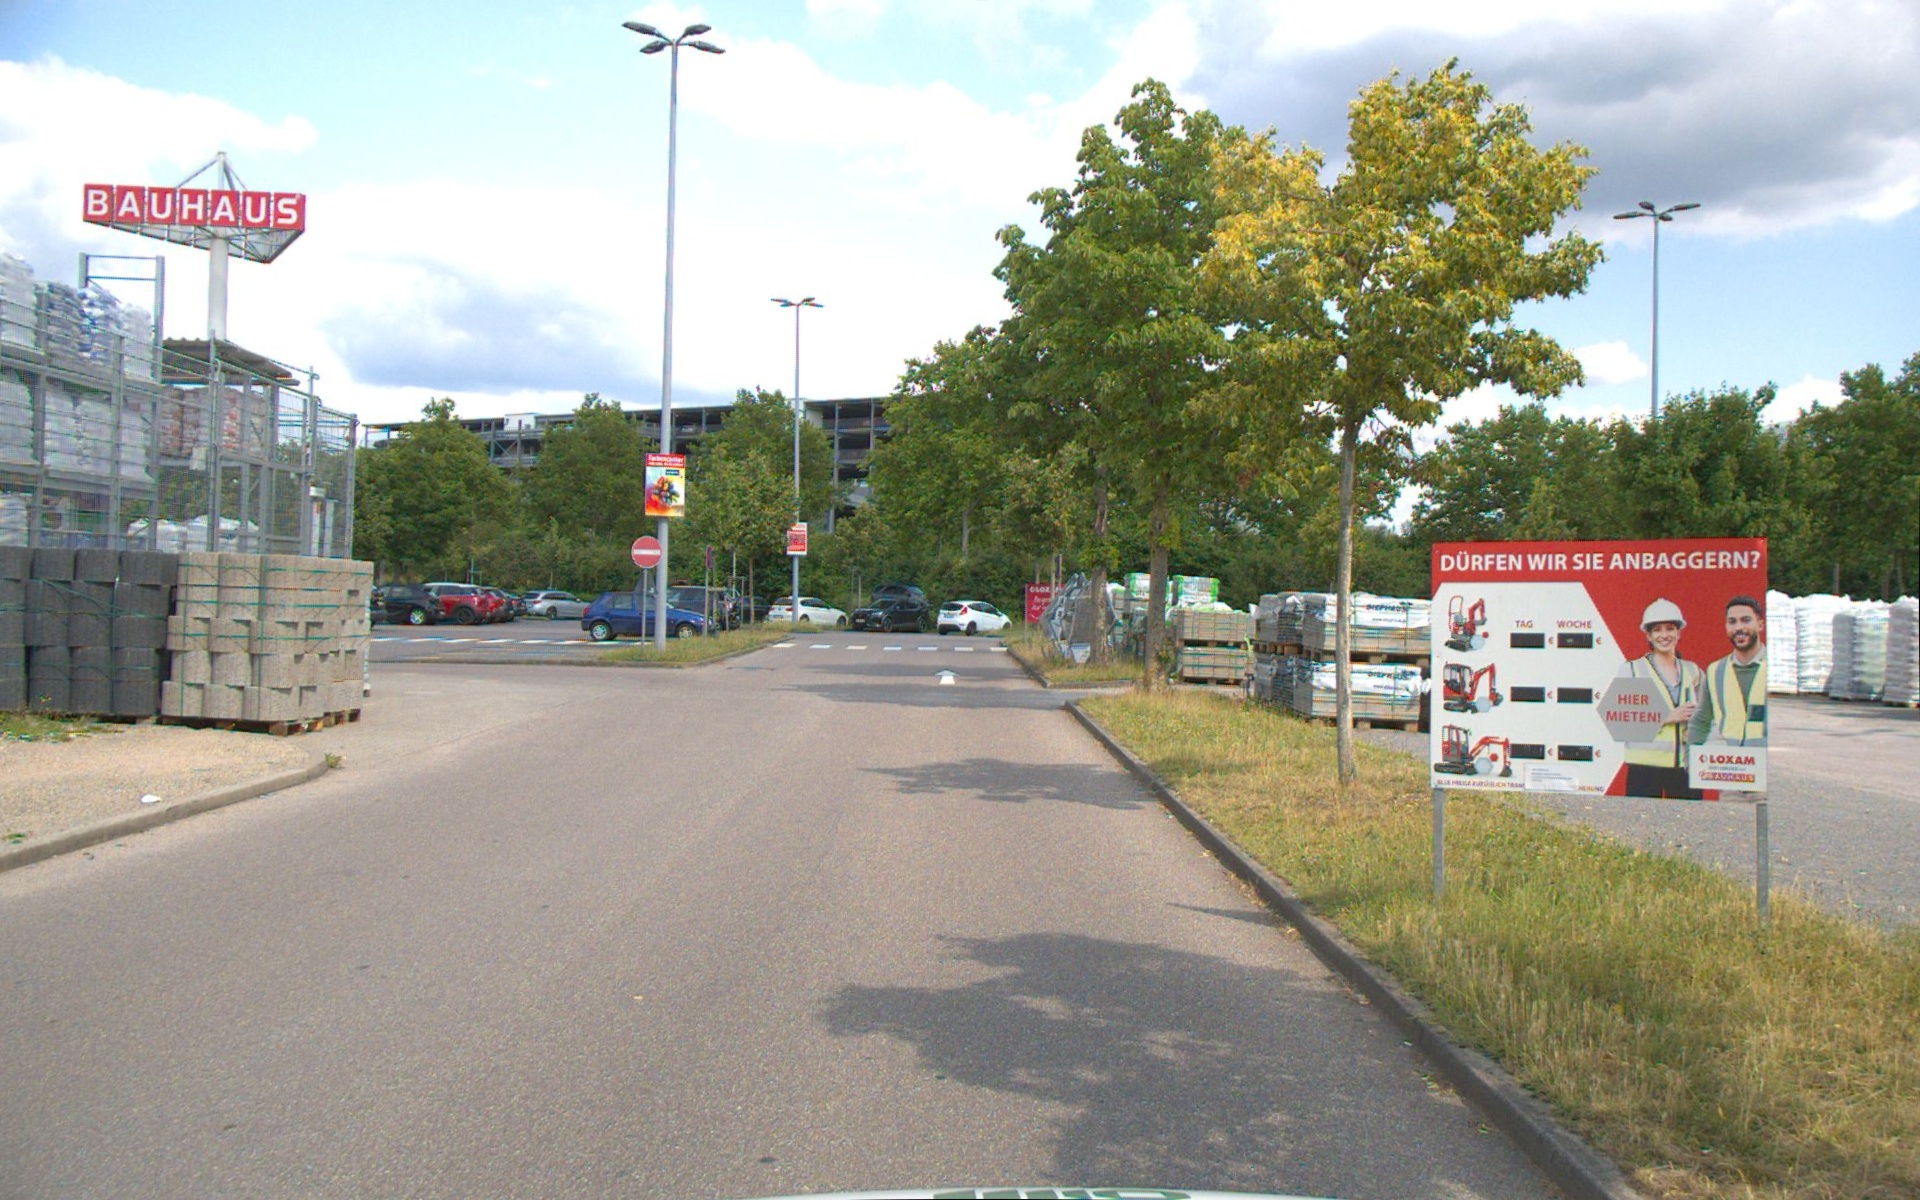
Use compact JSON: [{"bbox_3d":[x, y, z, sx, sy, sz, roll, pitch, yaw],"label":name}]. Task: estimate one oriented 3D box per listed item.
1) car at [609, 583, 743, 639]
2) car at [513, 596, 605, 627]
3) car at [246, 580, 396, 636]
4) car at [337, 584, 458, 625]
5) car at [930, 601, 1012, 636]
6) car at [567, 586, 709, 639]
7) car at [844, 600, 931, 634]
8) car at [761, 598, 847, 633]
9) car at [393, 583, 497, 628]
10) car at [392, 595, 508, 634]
[{"bbox_3d":[-8.899,0.339,52.030,3.868,1.653,1.736,1,0,1],"label":"car"},{"bbox_3d":[-20.461,0.605,84.590,1.747,1.531,4.641,1,0,33],"label":"car"},{"bbox_3d":[-20.046,0.250,51.992,3.989,1.653,1.783,1,0,-3],"label":"car"},{"bbox_3d":[-20.414,0.166,60.118,3.795,1.393,1.727,1,0,-5],"label":"car"},{"bbox_3d":[0.483,0.793,70.446,1.638,1.436,3.541,1,0,38],"label":"car"},{"bbox_3d":[-9.110,0.342,46.995,3.674,1.392,1.621,1,0,-1],"label":"car"},{"bbox_3d":[-3.167,0.753,73.427,1.697,1.435,4.230,1,0,34],"label":"car"},{"bbox_3d":[-7.126,0.732,75.811,1.657,1.536,4.065,-2,-2,36],"label":"car"},{"bbox_3d":[-19.472,0.196,62.608,3.367,1.609,1.709,1,0,-3],"label":"car"},{"bbox_3d":[-20.069,0.552,65.167,3.993,1.423,1.765,1,0,-3],"label":"car"}]
